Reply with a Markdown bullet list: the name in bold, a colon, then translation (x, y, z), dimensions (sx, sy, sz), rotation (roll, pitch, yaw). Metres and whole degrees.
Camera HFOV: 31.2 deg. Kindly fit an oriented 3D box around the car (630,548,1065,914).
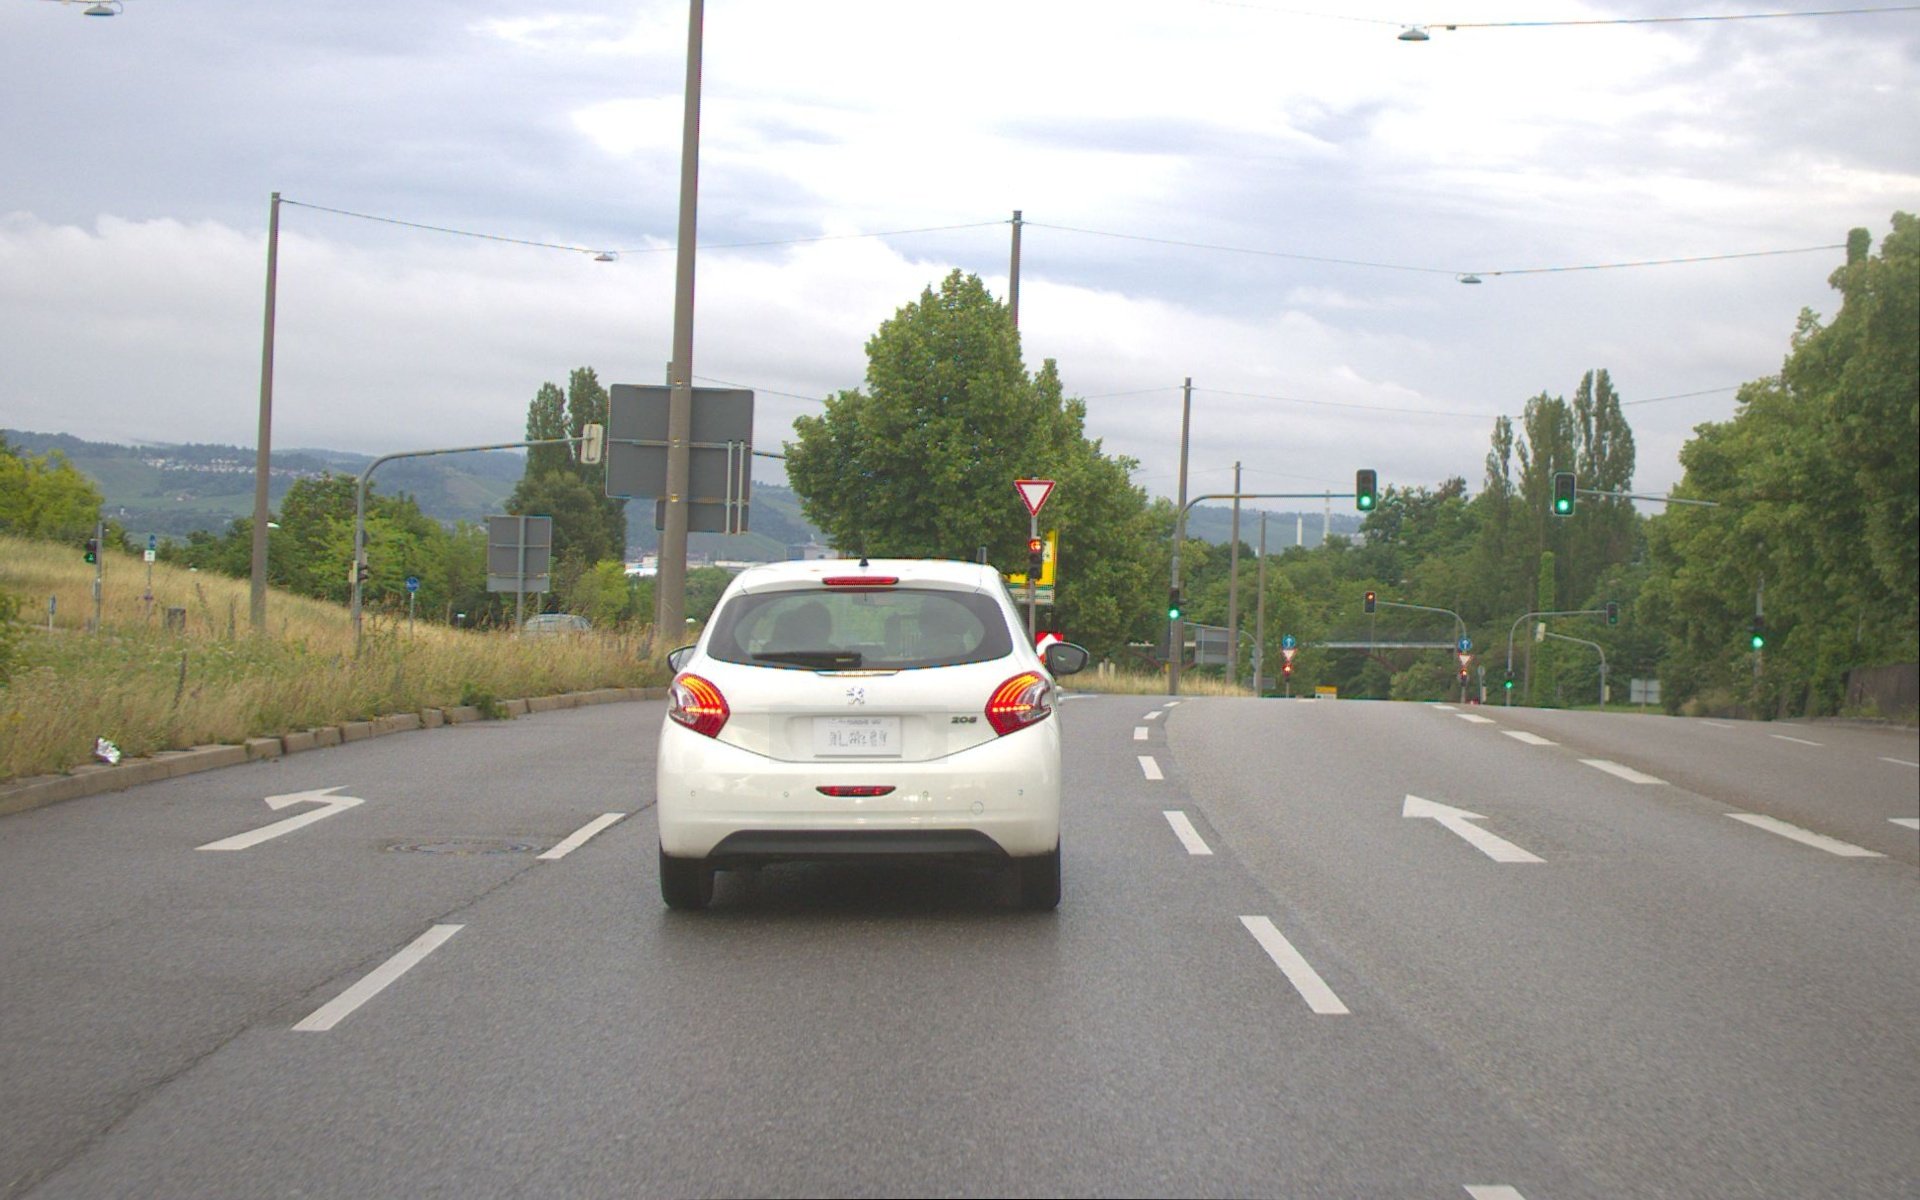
- **car**: translation (-0.391, 0.492, 15.488), dimensions (1.708, 1.435, 3.690), rotation (0, 1, 2)
